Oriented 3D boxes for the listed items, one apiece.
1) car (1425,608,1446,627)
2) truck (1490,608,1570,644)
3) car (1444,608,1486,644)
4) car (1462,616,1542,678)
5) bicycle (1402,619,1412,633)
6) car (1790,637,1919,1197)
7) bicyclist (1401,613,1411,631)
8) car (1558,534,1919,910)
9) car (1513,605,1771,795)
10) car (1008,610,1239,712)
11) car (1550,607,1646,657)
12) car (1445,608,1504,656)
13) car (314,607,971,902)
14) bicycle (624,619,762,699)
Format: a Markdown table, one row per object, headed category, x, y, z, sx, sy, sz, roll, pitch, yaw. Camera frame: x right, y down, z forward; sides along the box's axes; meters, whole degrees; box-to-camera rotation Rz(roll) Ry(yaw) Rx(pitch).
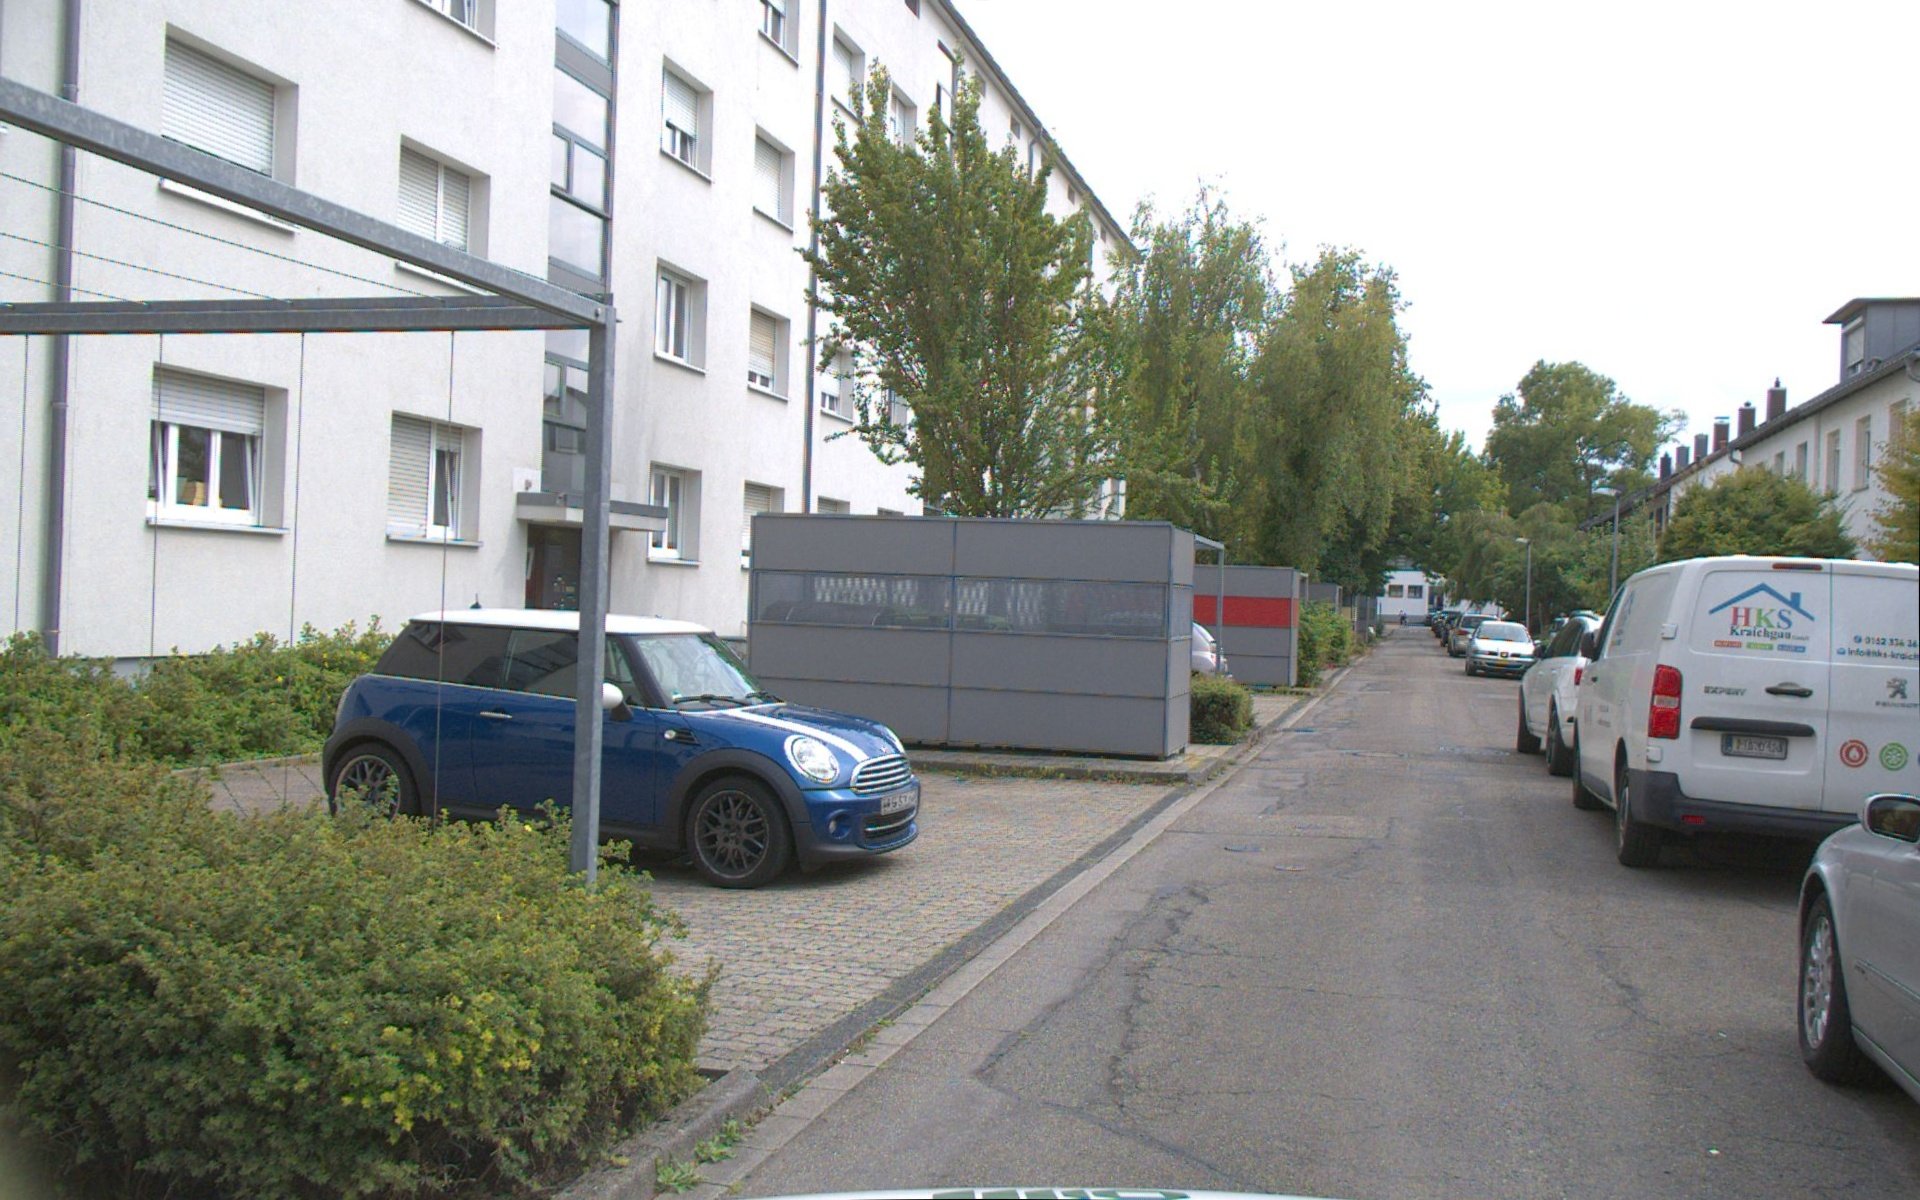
| category | x | y | z | sx | sy | sz | roll | pitch | yaw |
| --- | --- | --- | --- | --- | --- | --- | --- | --- | --- |
| car | 44.890 | 1.622 | 156.176 | 1.787 | 1.608 | 4.002 | 4 | 1 | 16 |
| truck | 33.572 | 1.519 | 97.516 | 4.297 | 2.049 | 2.001 | 0 | -1 | 15 |
| car | 24.725 | 1.253 | 81.093 | 1.787 | 1.608 | 4.195 | 4 | 1 | 16 |
| car | 14.279 | 1.200 | 43.719 | 1.787 | 1.394 | 4.333 | 4 | 1 | 16 |
| bicycle | 39.080 | 2.256 | 144.686 | 0.674 | 1.151 | 2.580 | 3 | 0 | 18 |
| car | 3.273 | 0.888 | 3.708 | 1.746 | 1.445 | 4.457 | 3 | 0 | 17 |
| bicyclist | 39.029 | 1.936 | 144.731 | 0.782 | 1.537 | 0.934 | 3 | 0 | 18 |
| car | 5.516 | 0.692 | 11.726 | 1.863 | 1.998 | 5.257 | 3 | 0 | 15 |
| car | 7.050 | 0.935 | 17.529 | 1.786 | 1.664 | 4.165 | 3 | 0 | 13 |
| car | 2.631 | 0.936 | 26.321 | 3.485 | 1.506 | 1.712 | 1 | 0 | 12 |
| car | 21.102 | 1.055 | 54.795 | 2.756 | 1.597 | 1.742 | 0 | -1 | 13 |
| car | 19.151 | 1.169 | 61.671 | 1.787 | 1.608 | 4.003 | 4 | 1 | 14 |
| car | -1.894 | 0.822 | 10.054 | 3.559 | 1.487 | 1.653 | 1 | 0 | 19 |
| bicycle | -3.636 | 0.809 | 22.587 | 1.782 | 1.042 | 0.475 | 2 | 0 | -25 |
